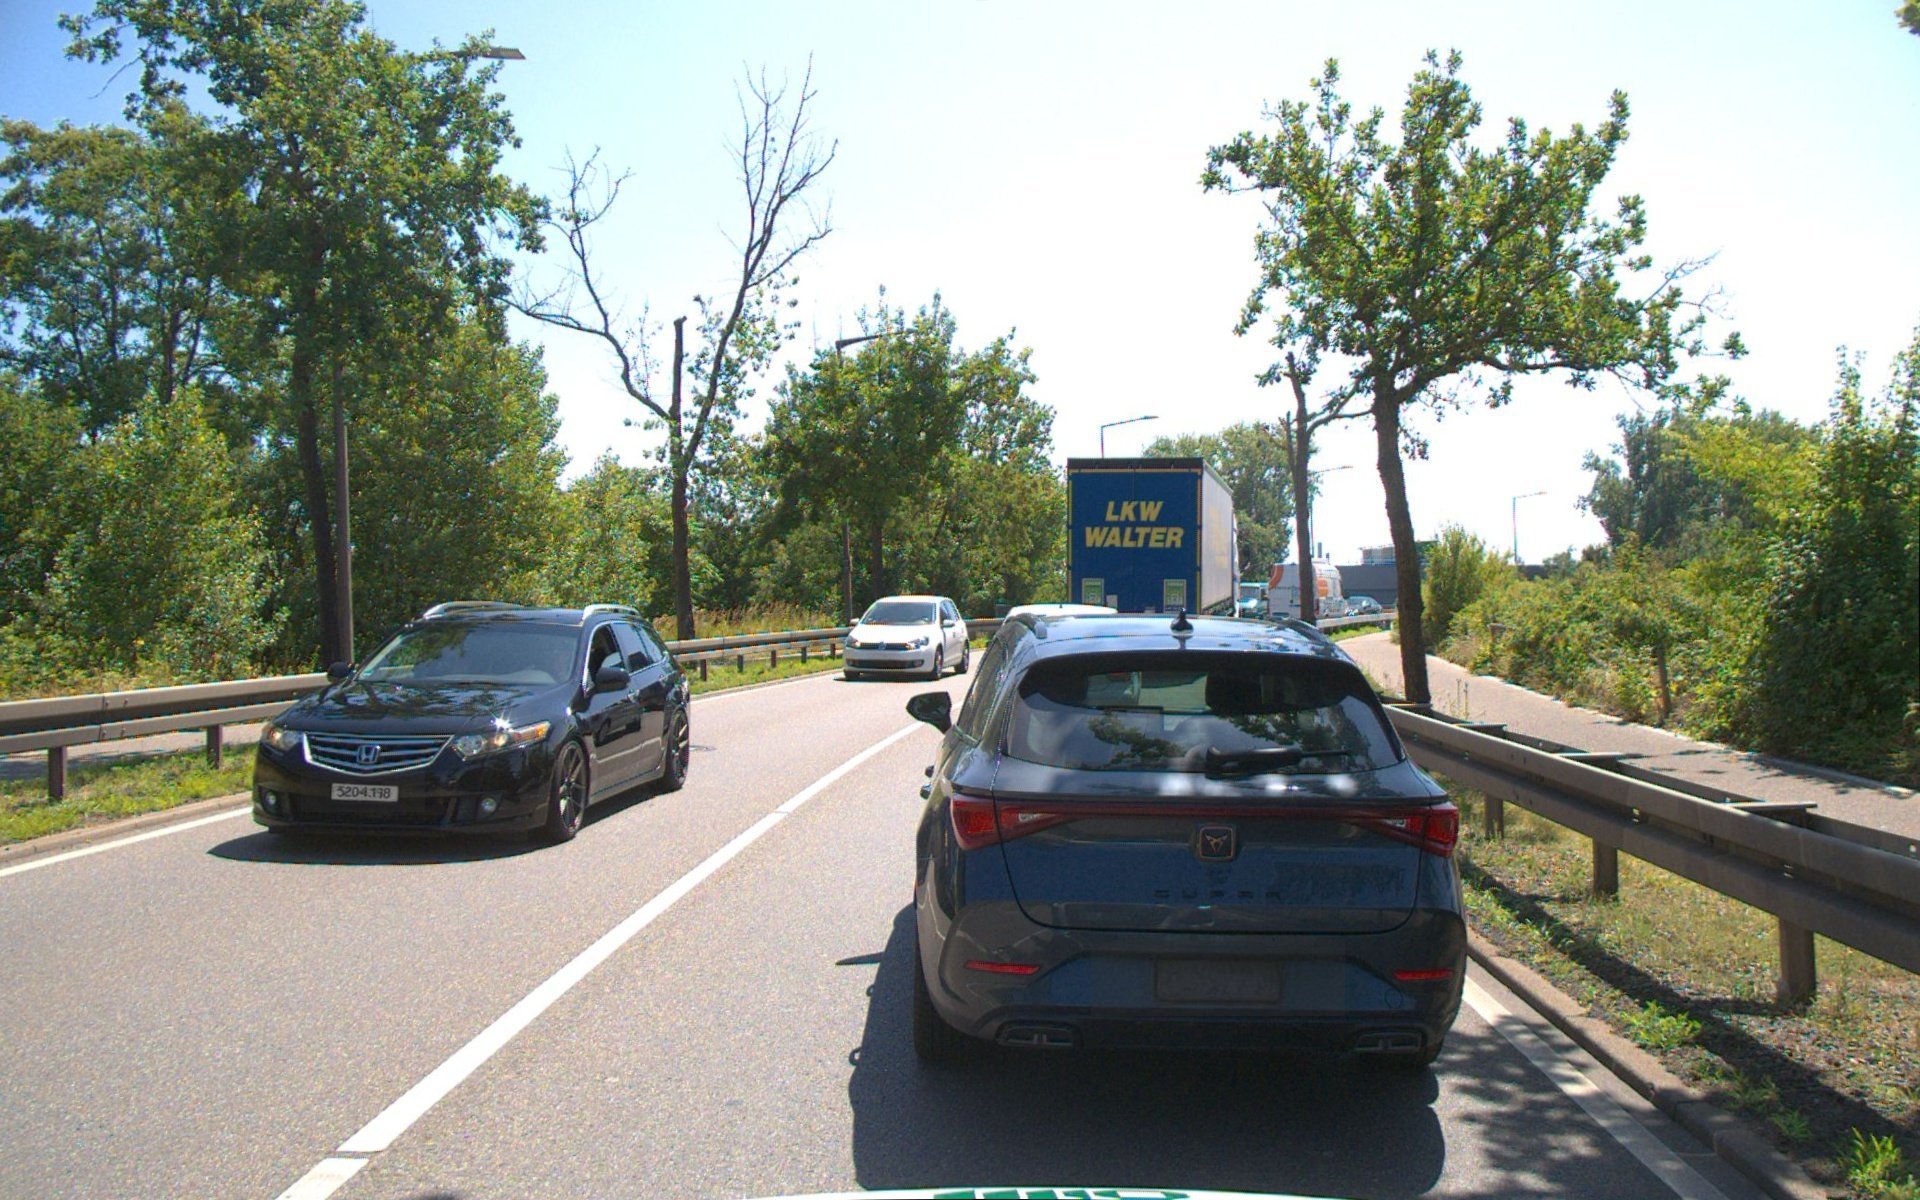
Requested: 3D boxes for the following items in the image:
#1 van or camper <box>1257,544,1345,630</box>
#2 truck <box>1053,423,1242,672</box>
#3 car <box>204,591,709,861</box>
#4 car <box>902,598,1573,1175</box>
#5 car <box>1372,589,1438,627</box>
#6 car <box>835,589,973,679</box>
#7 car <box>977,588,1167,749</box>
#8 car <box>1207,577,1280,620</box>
[{"bbox_3d":[12.865,-0.466,62.124,2.415,3.051,6.088,1,0,19],"label":"van or camper"},{"bbox_3d":[4.830,-0.954,38.565,2.887,4.526,16.812,1,0,11],"label":"truck"},{"bbox_3d":[-3.112,0.676,11.248,1.821,1.445,4.260,1,0,5],"label":"car"},{"bbox_3d":[0.705,0.736,6.184,1.708,1.457,3.879,1,0,0],"label":"car"},{"bbox_3d":[21.353,0.400,79.298,1.956,1.742,4.611,1,0,30],"label":"car"},{"bbox_3d":[-0.955,0.593,30.691,1.835,1.524,4.003,1,0,9],"label":"car"},{"bbox_3d":[1.107,0.664,18.014,1.772,1.534,4.000,1,0,0],"label":"car"},{"bbox_3d":[12.016,-0.047,69.919,2.086,1.710,4.879,1,0,22],"label":"car"}]
